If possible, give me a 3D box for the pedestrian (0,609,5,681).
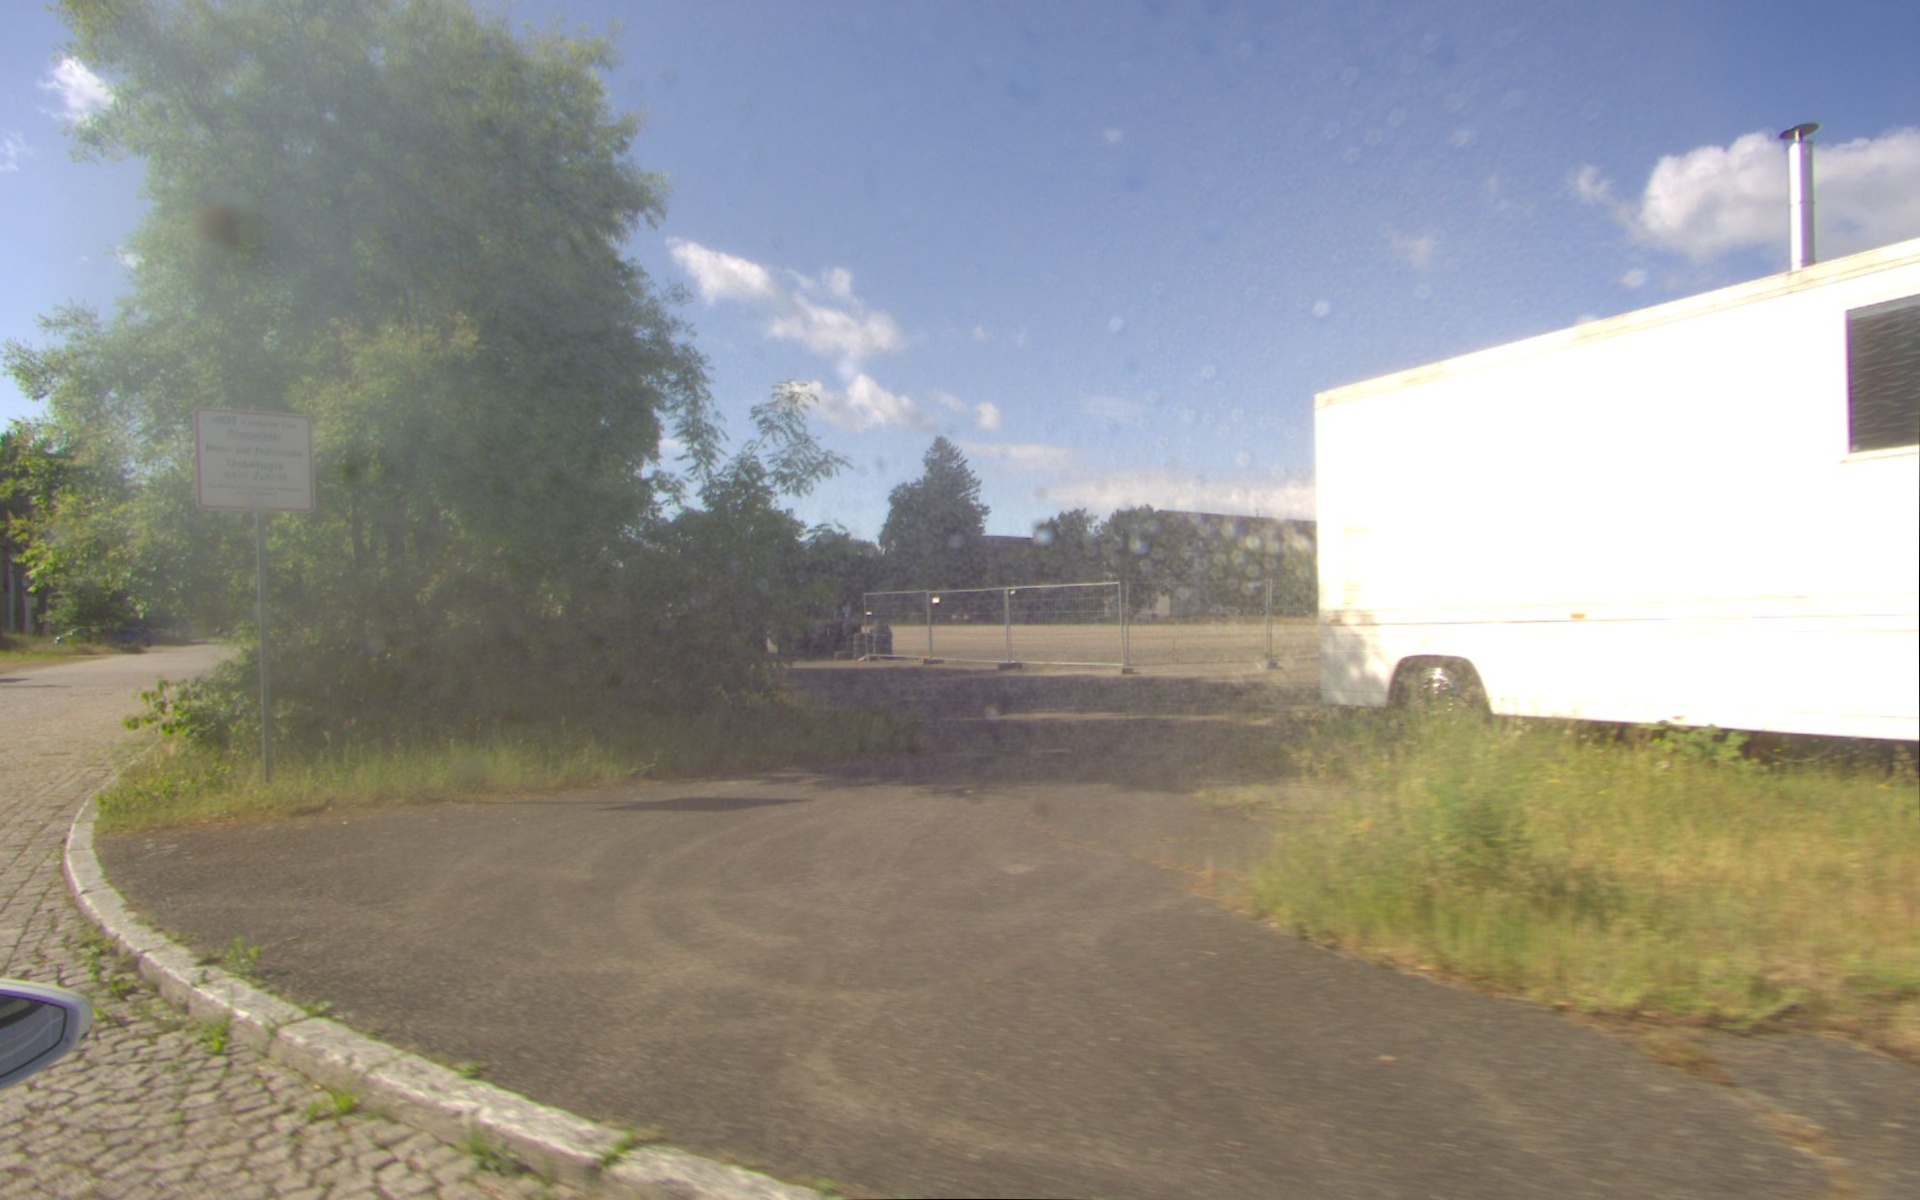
[{"bbox_3d":[-24.312,1.109,24.779,0.787,1.803,1.061,1,-1,-35],"label":"pedestrian"}]

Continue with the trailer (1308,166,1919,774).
[{"bbox_3d":[7.707,-0.852,6.803,2.743,3.961,10.825,0,-1,-31],"label":"trailer"}]

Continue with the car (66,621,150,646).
[{"bbox_3d":[-52.572,2.039,61.889,3.798,1.460,1.572,0,-1,-37],"label":"car"}]

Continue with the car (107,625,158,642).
[{"bbox_3d":[-62.144,2.521,75.213,2.834,1.222,1.361,0,-1,-43],"label":"car"}]

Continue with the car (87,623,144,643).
[{"bbox_3d":[-56.958,2.235,67.530,2.882,1.276,1.276,0,-1,-43],"label":"car"}]
